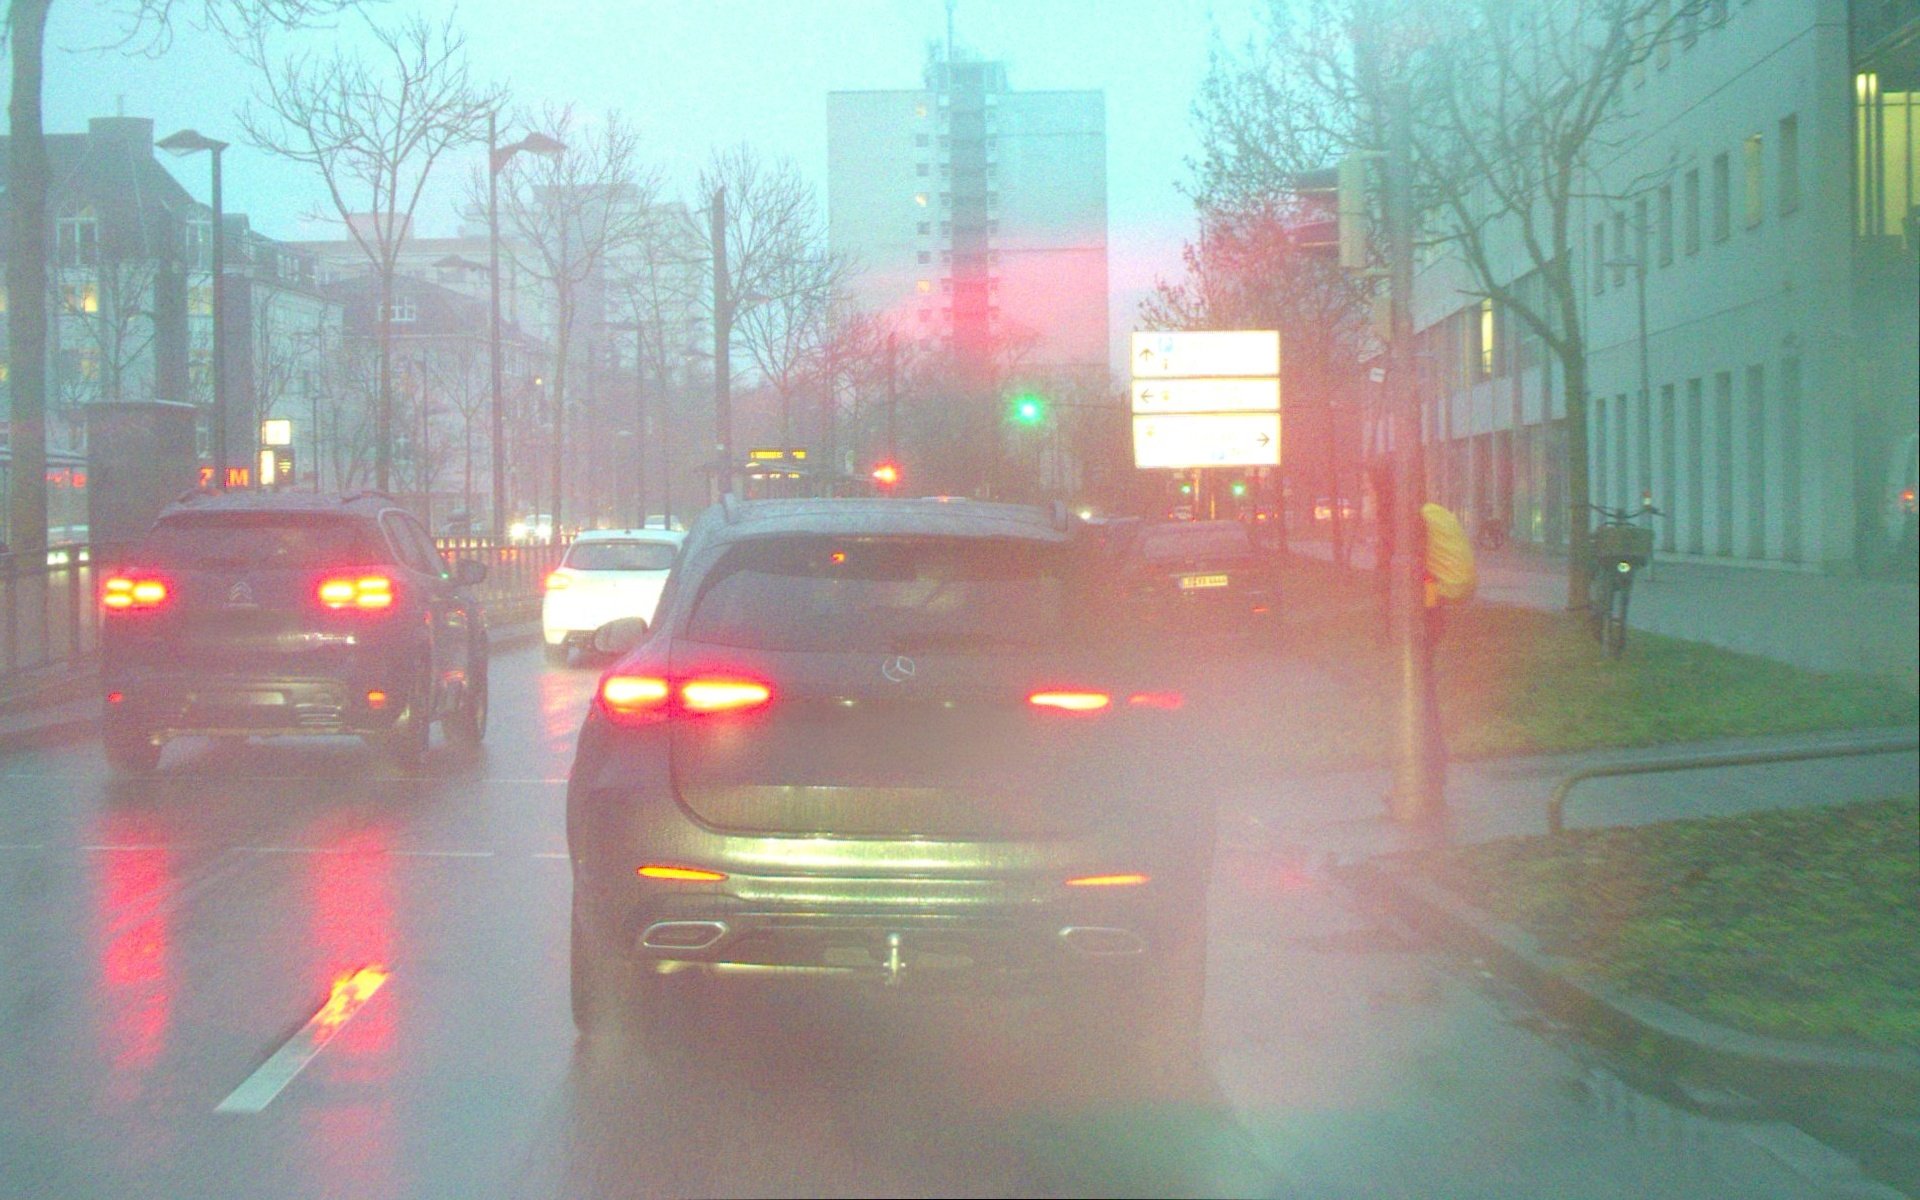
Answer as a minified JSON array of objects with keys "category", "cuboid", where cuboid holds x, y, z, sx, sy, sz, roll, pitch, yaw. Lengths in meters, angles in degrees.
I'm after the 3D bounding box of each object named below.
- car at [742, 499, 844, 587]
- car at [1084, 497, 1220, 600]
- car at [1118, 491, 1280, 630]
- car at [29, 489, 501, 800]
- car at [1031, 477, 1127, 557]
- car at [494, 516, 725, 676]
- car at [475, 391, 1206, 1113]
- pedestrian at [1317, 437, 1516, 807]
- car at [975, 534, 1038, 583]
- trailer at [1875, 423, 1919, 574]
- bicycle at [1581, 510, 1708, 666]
[{"category":"car","cuboid":[-2.801,-0.956,58.176,1.596,1.437,3.206,1,1,-1]},{"category":"car","cuboid":[2.739,-0.776,49.928,1.754,1.398,4.250,1,2,0]},{"category":"car","cuboid":[2.597,-0.431,38.118,1.596,1.435,4.228,1,1,2]},{"category":"car","cuboid":[-4.167,0.228,21.333,1.993,1.706,4.325,1,1,1]},{"category":"car","cuboid":[2.634,-1.799,75.229,1.994,1.685,3.528,1,1,3]},{"category":"car","cuboid":[-3.786,-0.066,37.779,1.993,1.636,4.022,1,1,2]},{"category":"car","cuboid":[-0.353,0.401,11.525,1.993,1.969,4.068,1,1,-1]},{"category":"pedestrian","cuboid":[2.329,0.111,17.605,0.770,1.802,0.699,-5,0,-1]},{"category":"car","cuboid":[1.489,-1.321,109.765,1.771,1.497,3.368,1,1,5]},{"category":"trailer","cuboid":[14.501,-1.334,44.181,5.069,1.904,2.130,0,3,8]},{"category":"bicycle","cuboid":[5.168,-0.096,26.049,0.550,1.111,2.166,-2,0,2]}]
